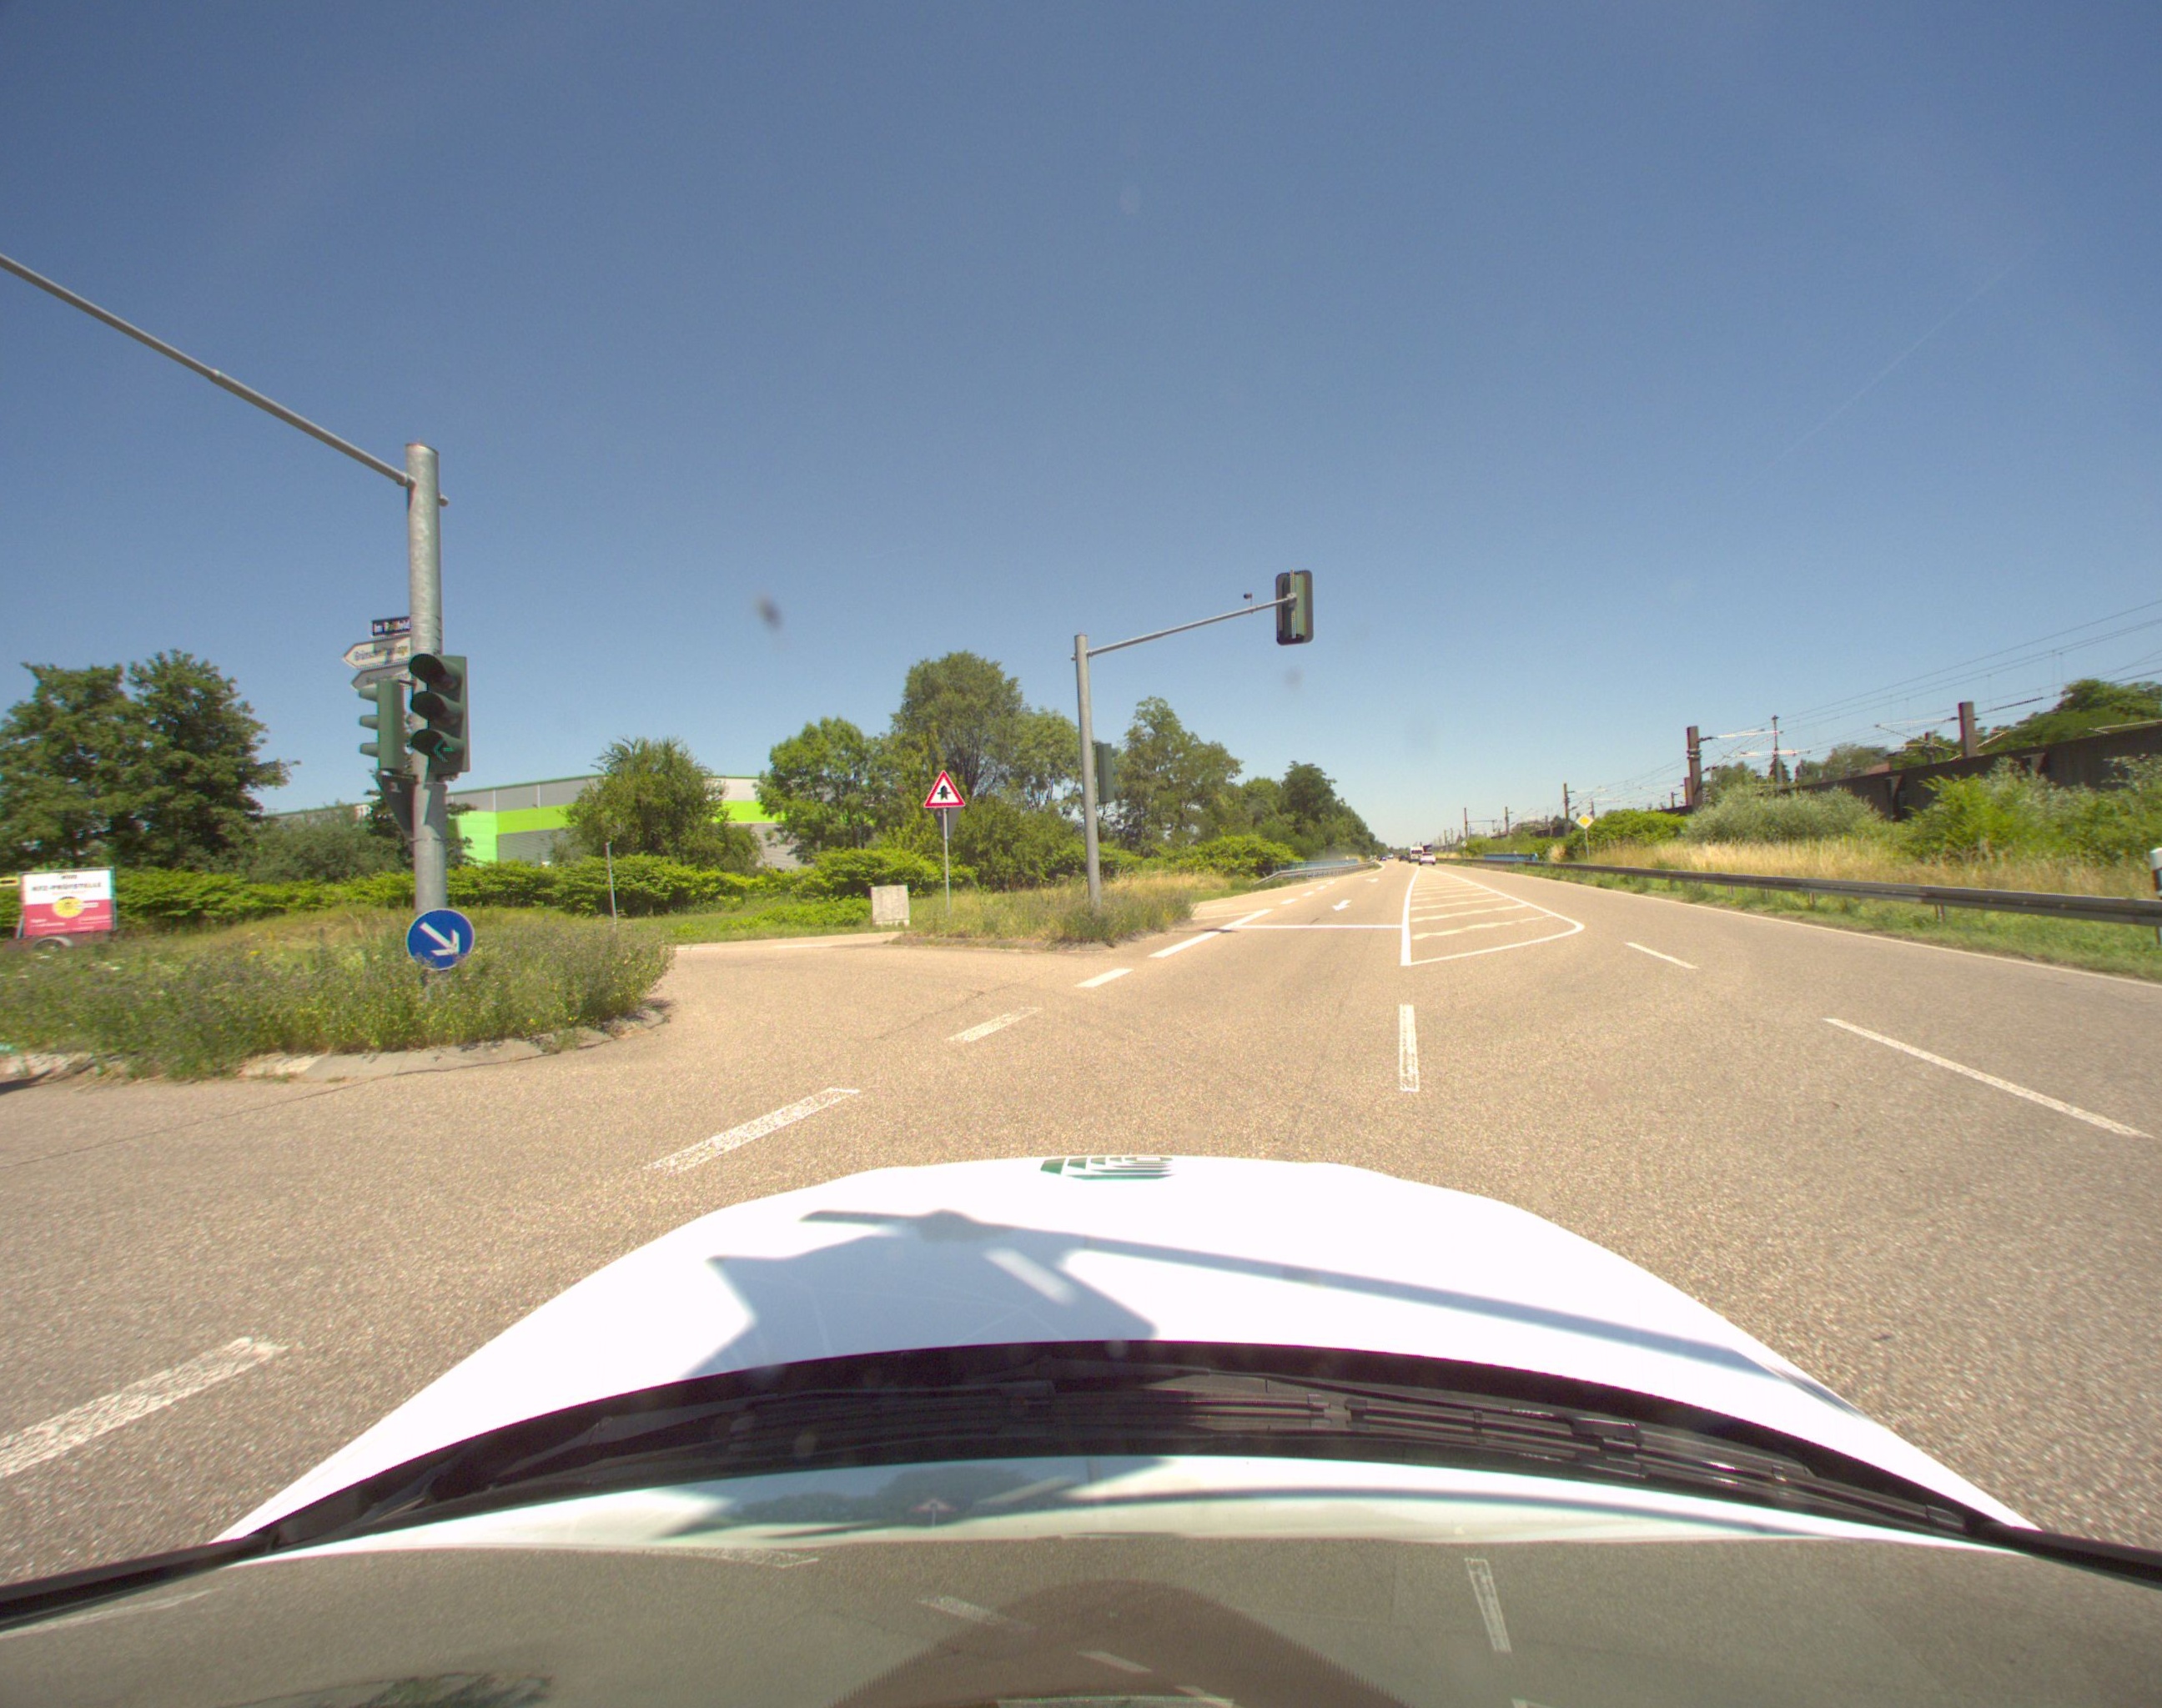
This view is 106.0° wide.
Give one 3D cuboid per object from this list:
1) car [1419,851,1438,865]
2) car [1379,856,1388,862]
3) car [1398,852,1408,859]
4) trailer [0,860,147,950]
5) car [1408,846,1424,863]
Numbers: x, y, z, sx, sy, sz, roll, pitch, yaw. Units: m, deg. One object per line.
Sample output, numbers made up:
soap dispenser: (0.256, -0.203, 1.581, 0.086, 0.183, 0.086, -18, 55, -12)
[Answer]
car: (42.563, 0.491, 99.912, 1.803, 1.564, 4.299, -2, -1, 19)
car: (70.690, 1.106, 190.475, 1.841, 1.379, 4.526, -1, 0, 20)
car: (66.373, 0.235, 167.952, 1.841, 1.379, 4.526, -1, 0, 20)
trailer: (-33.925, 1.660, 26.770, 3.764, 2.764, 1.811, -2, -1, -25)
car: (53.166, 0.051, 129.347, 2.169, 2.604, 6.786, -1, 0, 21)
